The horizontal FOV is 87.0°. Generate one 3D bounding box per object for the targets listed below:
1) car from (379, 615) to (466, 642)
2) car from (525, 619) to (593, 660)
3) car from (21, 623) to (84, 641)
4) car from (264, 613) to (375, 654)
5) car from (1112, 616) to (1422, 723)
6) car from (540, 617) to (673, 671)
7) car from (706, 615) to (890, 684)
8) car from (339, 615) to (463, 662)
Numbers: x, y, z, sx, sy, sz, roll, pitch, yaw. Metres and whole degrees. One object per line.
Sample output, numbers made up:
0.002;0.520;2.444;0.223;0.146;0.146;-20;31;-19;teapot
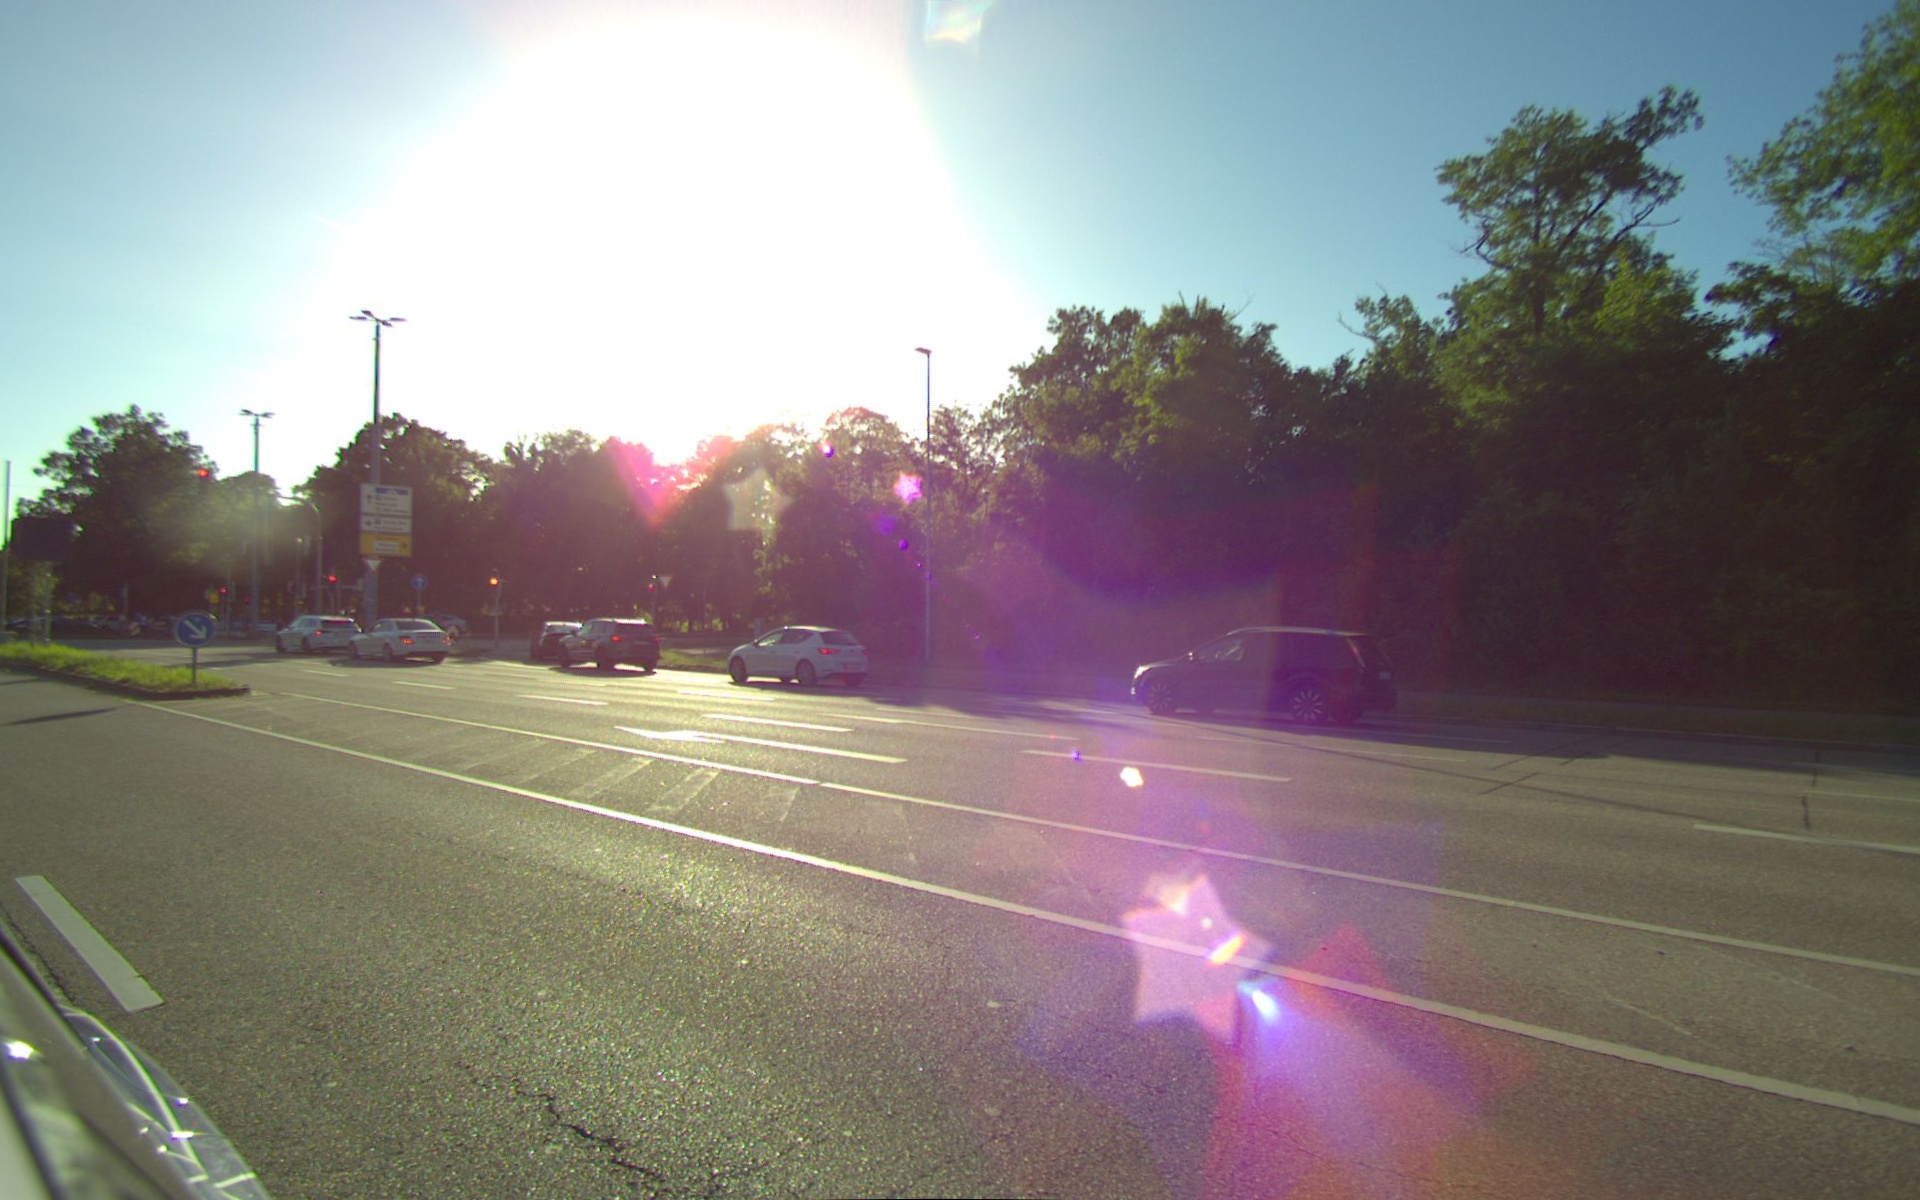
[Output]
-34.047;1.811;64.103;4.662;1.700;2.005;1;-2;-33;car
-15.016;1.459;38.113;1.966;1.462;4.661;1;-2;-16;car
-85.043;2.996;94.918;1.988;1.530;3.967;0;0;24;car
-24.561;1.267;38.760;4.833;1.462;1.975;-1;-3;37;car
5.103;1.104;17.182;4.646;1.576;1.972;-1;-4;42;car
-11.366;1.382;32.395;4.646;1.576;1.972;-1;-4;42;car
-4.167;1.222;25.630;4.643;1.576;1.973;-1;-5;40;car
-18.734;1.256;33.843;4.643;1.462;1.974;-1;-3;39;car
